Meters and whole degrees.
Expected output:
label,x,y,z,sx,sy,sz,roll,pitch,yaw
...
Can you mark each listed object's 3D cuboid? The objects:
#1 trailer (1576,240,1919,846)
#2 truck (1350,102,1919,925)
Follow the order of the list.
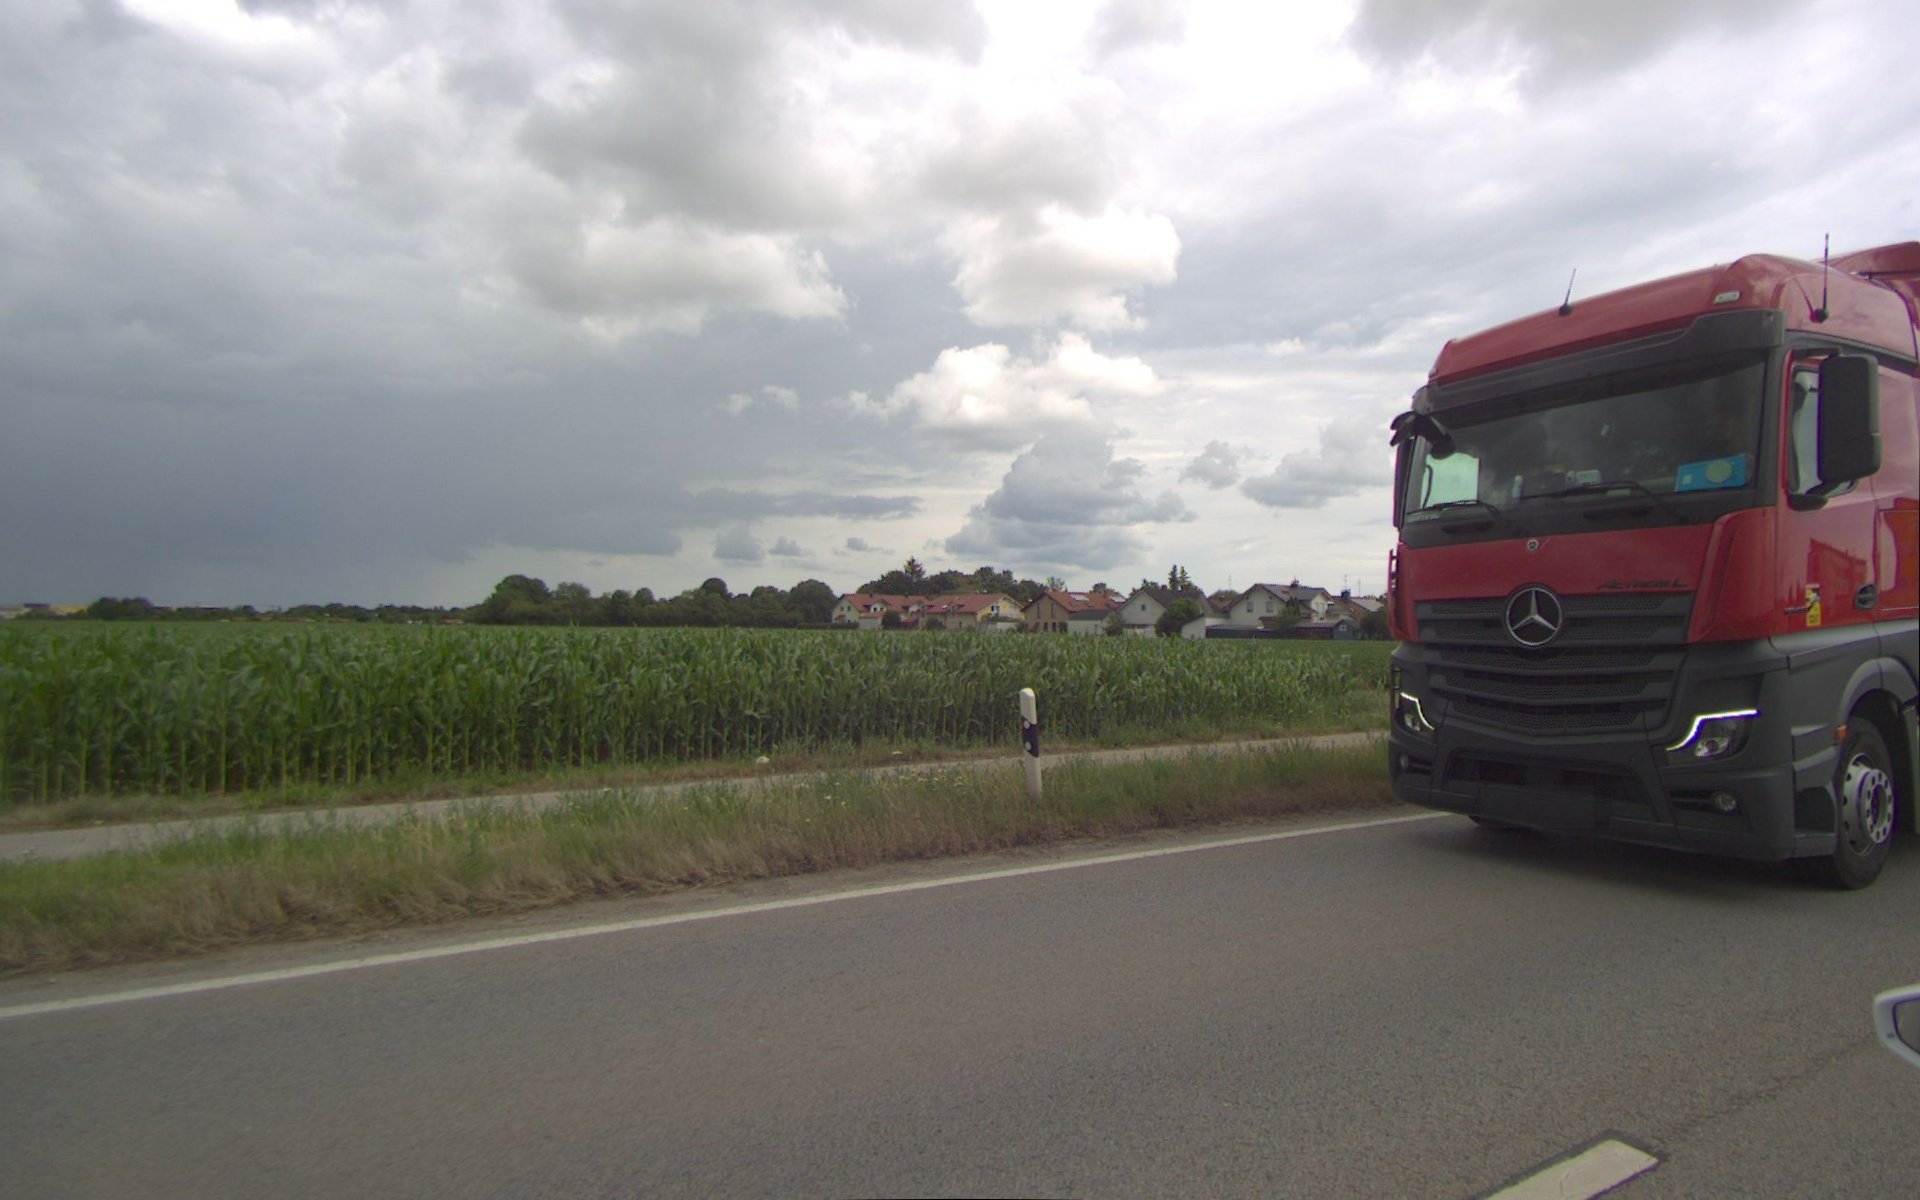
label,x,y,z,sx,sy,sz,roll,pitch,yaw
trailer,11.971,-0.208,11.239,13.606,4.175,2.622,2,-2,-31
truck,6.073,-0.353,7.753,5.953,4.175,2.639,2,-2,-31
